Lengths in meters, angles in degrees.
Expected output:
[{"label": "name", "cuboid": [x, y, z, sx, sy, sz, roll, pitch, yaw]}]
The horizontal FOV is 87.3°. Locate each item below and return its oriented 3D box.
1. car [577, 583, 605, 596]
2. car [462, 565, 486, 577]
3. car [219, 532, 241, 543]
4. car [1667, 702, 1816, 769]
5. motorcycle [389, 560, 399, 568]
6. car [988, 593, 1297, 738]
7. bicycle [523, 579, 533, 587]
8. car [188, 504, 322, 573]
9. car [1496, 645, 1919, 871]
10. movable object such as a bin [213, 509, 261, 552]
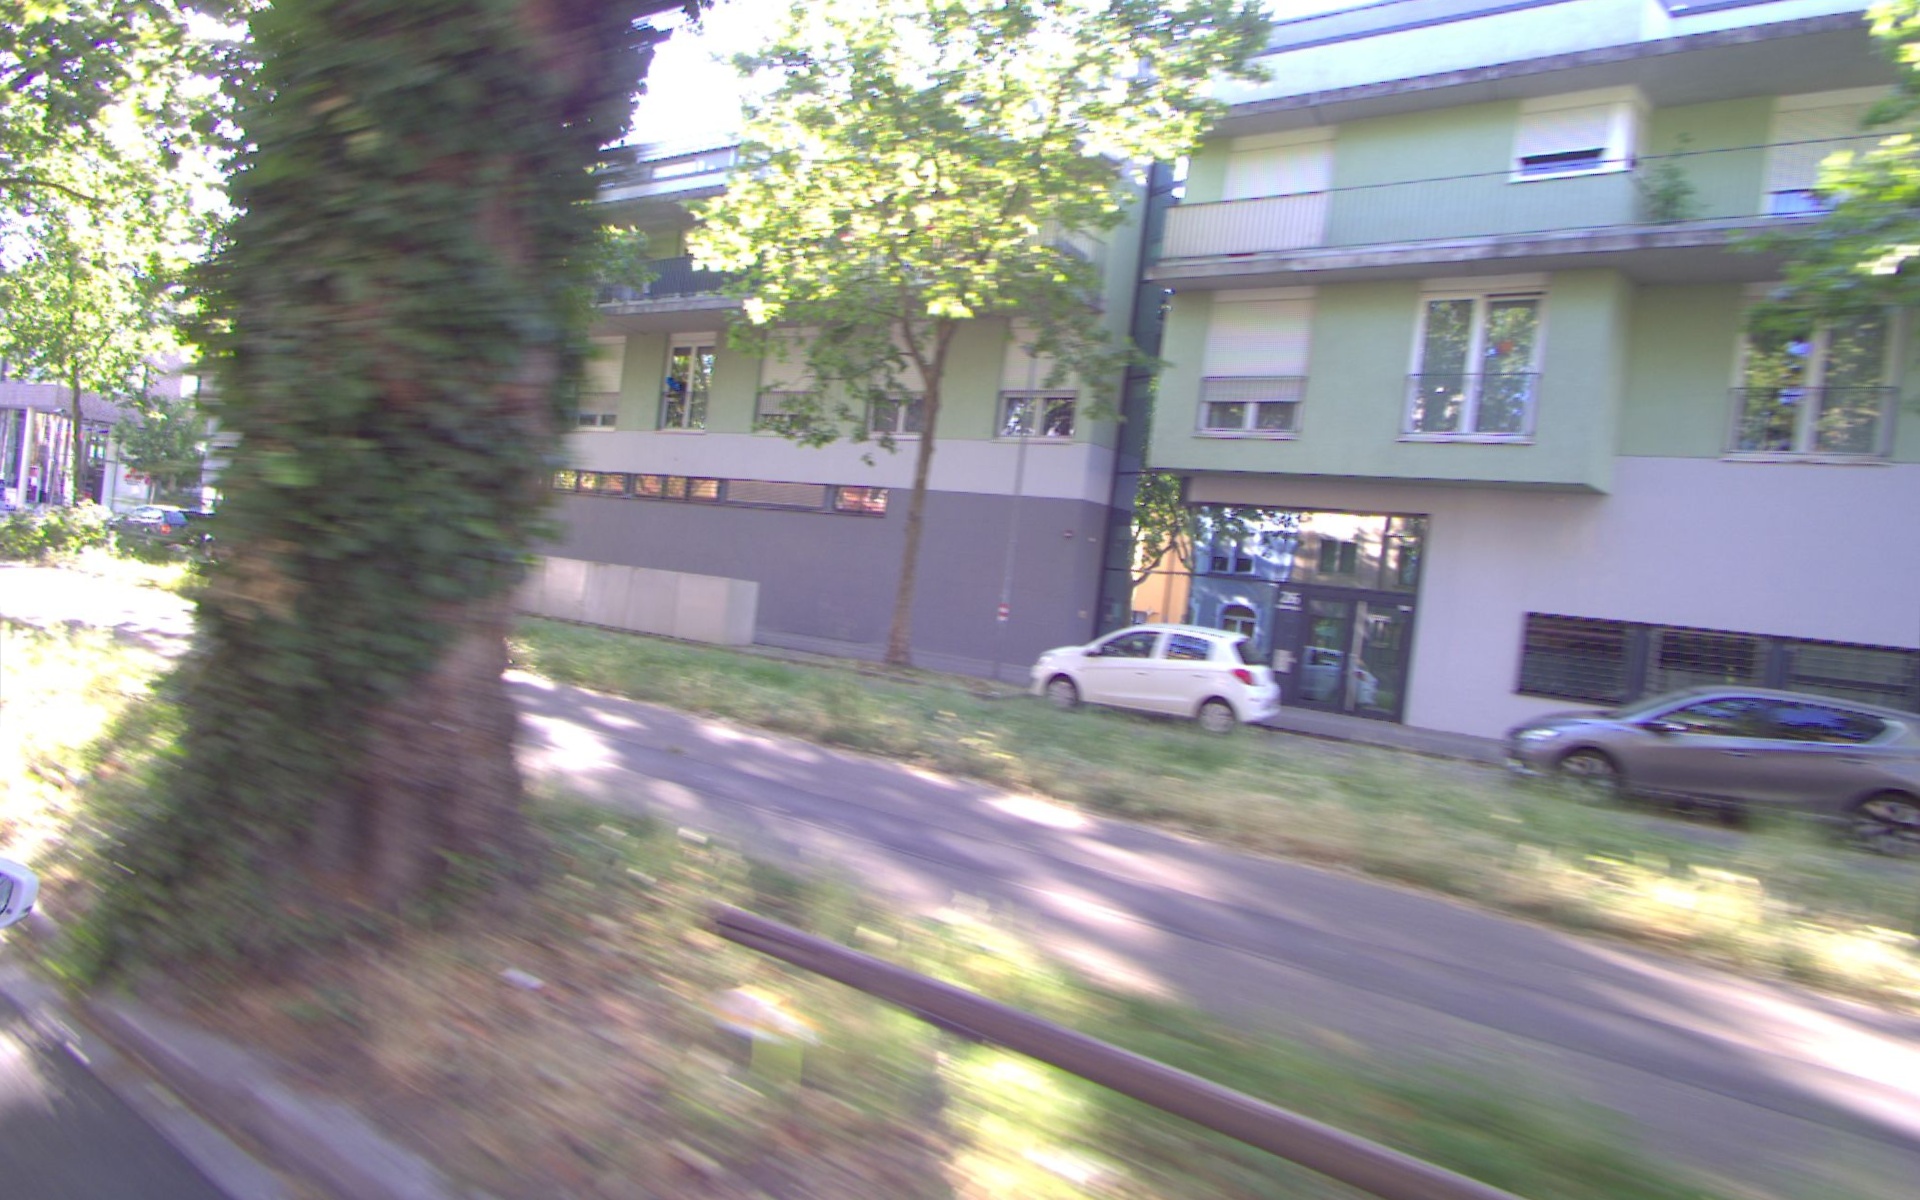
[{"label": "car", "cuboid": [-58.133, -1.717, 158.346, 4.053, 1.487, 1.862, 7, 0, 29]}, {"label": "car", "cuboid": [-88.881, -5.339, 183.990, 4.108, 1.755, 1.879, 7, 0, 28]}, {"label": "car", "cuboid": [-157.557, -13.476, 217.100, 3.930, 2.038, 1.999, 6, -1, 27]}, {"label": "car", "cuboid": [33.525, 5.795, 43.251, 1.988, 1.798, 4.575, 7, 3, -42]}, {"label": "motorcycle", "cuboid": [-101.670, -6.467, 180.661, 2.226, 1.258, 0.547, 7, 3, 31]}, {"label": "car", "cuboid": [2.802, 0.959, 15.711, 4.247, 1.562, 1.861, 7, 0, 31]}, {"label": "bicycle", "cuboid": [-71.936, -2.831, 167.406, 1.458, 1.016, 0.384, 7, 1, 14]}, {"label": "car", "cuboid": [-21.106, -1.833, 30.109, 3.696, 1.572, 1.861, 7, 0, 31]}, {"label": "car", "cuboid": [8.810, 1.723, 11.756, 4.247, 1.793, 1.907, 7, 0, 31]}, {"label": "movable object such as a bin", "cuboid": [-28.814, -2.779, 40.091, 1.388, 1.481, 1.191, 7, 1, 42]}]
